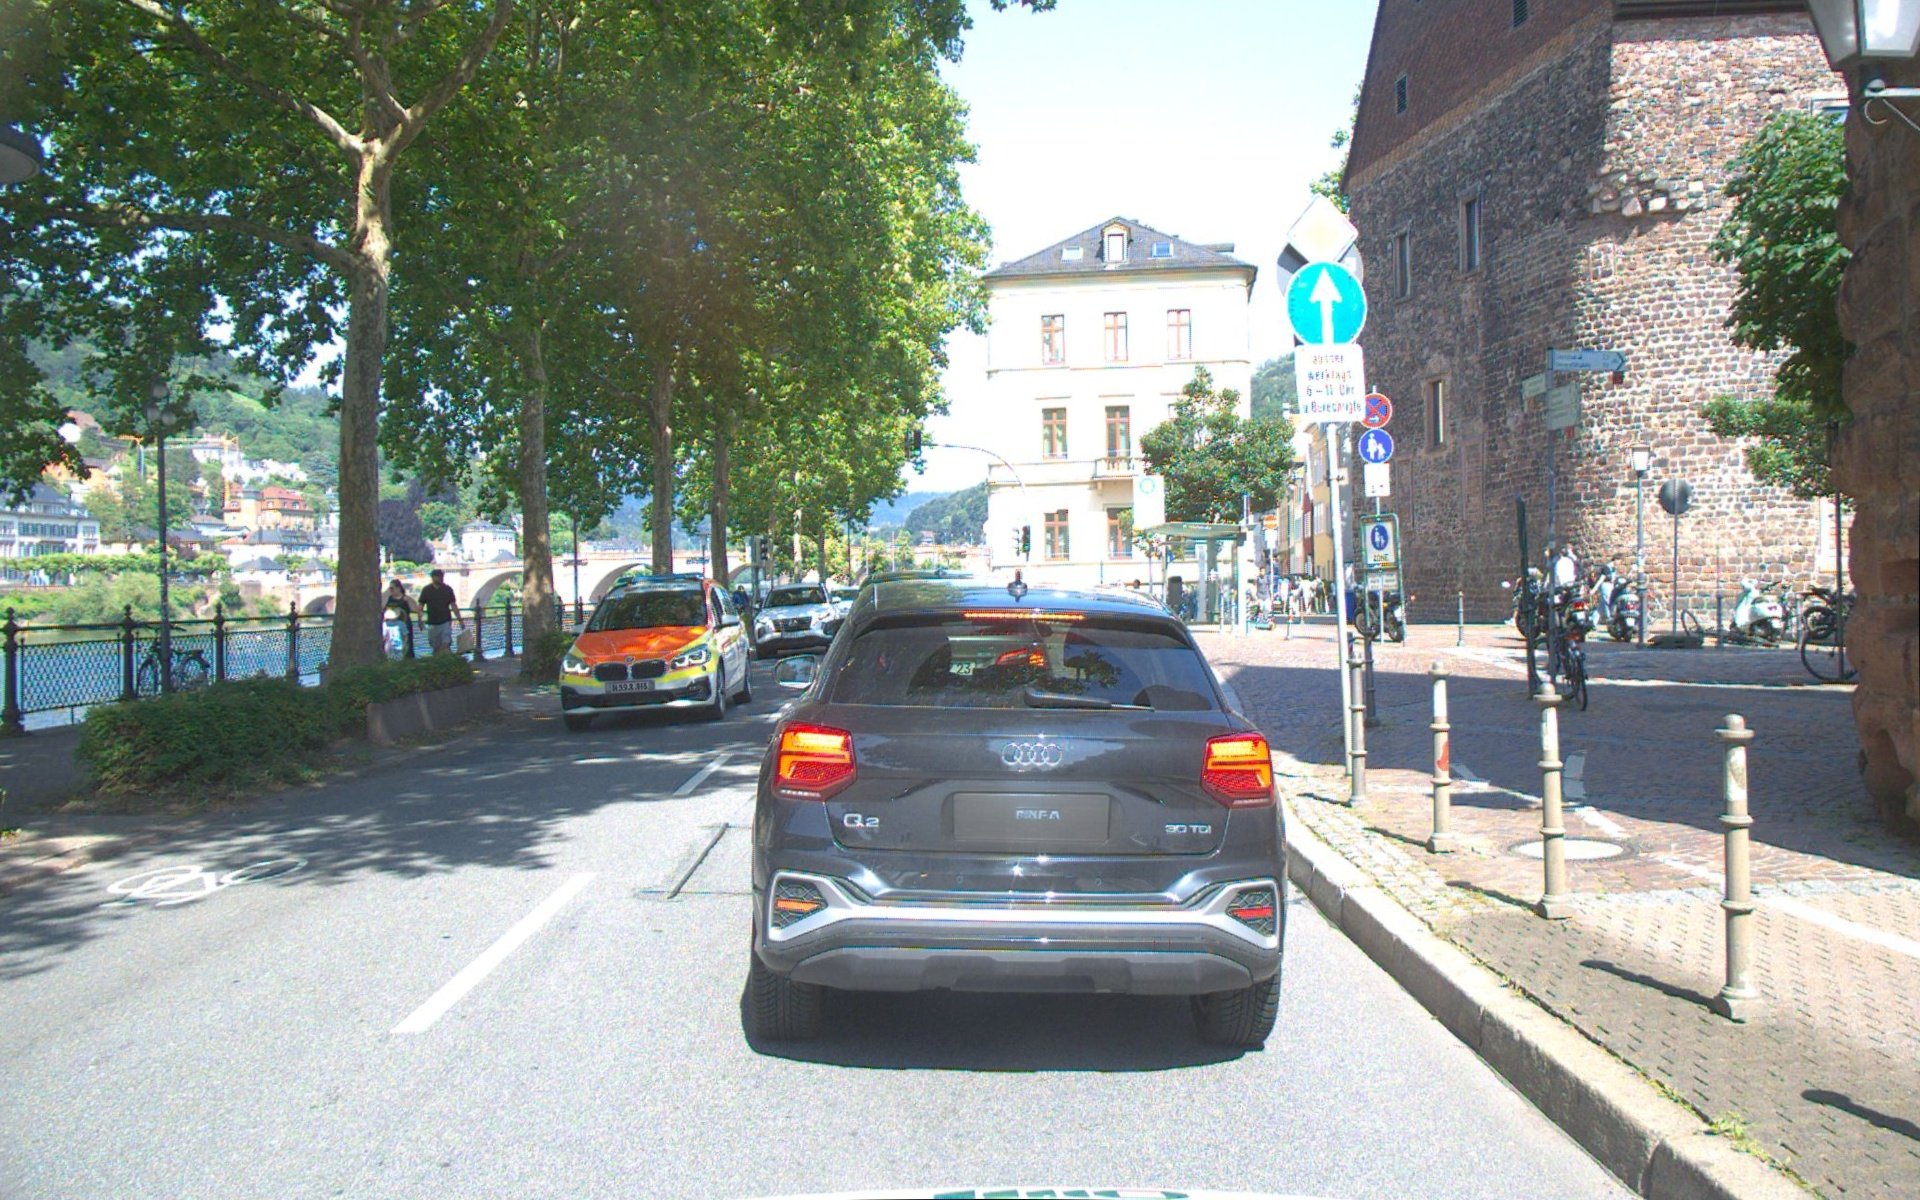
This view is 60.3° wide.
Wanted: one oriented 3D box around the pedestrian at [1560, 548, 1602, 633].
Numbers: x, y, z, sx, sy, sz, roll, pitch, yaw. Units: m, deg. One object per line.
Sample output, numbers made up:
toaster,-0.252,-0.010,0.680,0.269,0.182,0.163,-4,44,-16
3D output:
pedestrian,14.631,-0.218,38.986,0.655,1.954,0.821,1,-1,-2

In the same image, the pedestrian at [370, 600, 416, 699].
pedestrian,-8.118,0.703,23.688,0.469,1.386,0.417,1,0,3

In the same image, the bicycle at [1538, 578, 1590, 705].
bicycle,6.174,0.394,16.937,0.189,1.225,1.771,0,1,10

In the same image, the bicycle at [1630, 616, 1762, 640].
bicycle,12.318,0.462,27.751,1.887,0.388,0.918,0,-1,14

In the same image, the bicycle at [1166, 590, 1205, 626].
bicycle,6.681,0.230,49.025,1.184,1.053,0.178,1,-1,-20

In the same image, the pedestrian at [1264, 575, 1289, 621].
pedestrian,14.188,-0.097,74.114,0.925,2.049,0.807,1,-1,-1

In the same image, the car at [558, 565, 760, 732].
car,-3.491,0.500,19.883,1.639,1.689,4.222,-3,0,-1

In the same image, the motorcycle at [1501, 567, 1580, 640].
motorcycle,10.566,0.071,30.181,0.642,1.288,2.199,0,0,-1

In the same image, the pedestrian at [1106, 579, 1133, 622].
pedestrian,4.709,0.007,48.921,0.651,1.253,0.640,1,-1,-7

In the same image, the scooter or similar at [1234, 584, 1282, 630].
scooter or similar,7.108,0.166,39.504,1.067,1.084,0.323,1,-1,-3

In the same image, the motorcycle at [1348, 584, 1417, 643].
motorcycle,7.693,0.222,30.216,0.555,1.030,2.489,-1,1,-2

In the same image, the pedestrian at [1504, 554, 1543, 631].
pedestrian,13.588,-0.190,39.925,0.639,1.834,0.847,0,0,-2

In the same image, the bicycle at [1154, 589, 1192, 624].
bicycle,6.404,0.193,49.641,1.166,1.033,0.178,1,-1,-20

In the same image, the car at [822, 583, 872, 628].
car,-4.491,0.194,66.244,1.703,1.599,4.091,-4,1,-1

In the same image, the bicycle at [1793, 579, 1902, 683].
bicycle,10.616,0.340,19.835,0.437,1.182,1.731,-1,1,3

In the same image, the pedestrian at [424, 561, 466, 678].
pedestrian,-8.570,0.319,27.544,0.523,1.920,0.436,1,0,-1

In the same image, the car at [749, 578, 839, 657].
car,-3.860,0.372,38.984,1.733,1.689,3.999,-3,0,-1

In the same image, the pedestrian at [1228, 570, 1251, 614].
pedestrian,10.588,-0.295,62.667,0.760,1.649,0.645,-2,0,1

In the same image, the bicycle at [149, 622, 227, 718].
bicycle,-9.533,0.847,20.453,0.352,1.110,1.295,2,0,-2

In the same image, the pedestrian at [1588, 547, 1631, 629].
pedestrian,13.658,-0.243,34.752,0.791,1.691,0.656,-1,0,23

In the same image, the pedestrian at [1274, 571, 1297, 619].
pedestrian,14.282,-0.213,72.582,0.822,2.049,0.738,1,-1,-1

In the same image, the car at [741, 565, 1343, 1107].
car,0.213,0.663,6.584,1.707,1.535,3.646,1,1,-1

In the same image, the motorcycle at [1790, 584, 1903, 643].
motorcycle,16.772,0.259,31.328,1.826,1.072,0.480,1,-1,7

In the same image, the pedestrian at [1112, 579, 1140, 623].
pedestrian,4.821,0.030,48.070,0.651,1.233,0.640,1,-1,-7

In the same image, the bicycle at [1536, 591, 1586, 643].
bicycle,14.730,0.413,40.583,0.381,1.230,1.715,1,0,-9

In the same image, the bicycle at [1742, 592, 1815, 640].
bicycle,15.127,0.289,30.612,0.346,0.835,1.926,1,1,-2

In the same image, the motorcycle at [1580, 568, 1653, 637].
motorcycle,12.284,0.051,30.999,0.535,1.257,2.030,1,0,-1

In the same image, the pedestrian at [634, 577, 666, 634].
pedestrian,-10.270,0.189,54.752,0.891,1.843,0.586,1,-2,3

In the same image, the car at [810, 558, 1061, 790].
car,-0.200,0.513,13.460,1.756,1.623,3.398,1,0,-1

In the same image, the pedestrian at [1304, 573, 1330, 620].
pedestrian,15.555,-0.144,72.096,0.921,2.049,0.807,1,-1,-1

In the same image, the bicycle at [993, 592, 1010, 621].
bicycle,1.574,0.248,62.579,0.428,1.105,1.675,1,0,-5

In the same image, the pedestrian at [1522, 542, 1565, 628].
pedestrian,14.221,-0.355,40.331,0.715,2.049,0.878,1,-1,-1

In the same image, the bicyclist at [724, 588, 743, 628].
bicyclist,-7.619,0.269,55.647,0.555,1.334,0.551,1,-1,-5

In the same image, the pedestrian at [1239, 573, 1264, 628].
pedestrian,7.552,0.012,42.865,0.546,1.409,0.588,1,-1,1

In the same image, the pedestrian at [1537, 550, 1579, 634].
pedestrian,13.930,-0.180,38.526,0.655,1.917,0.821,1,-1,-2

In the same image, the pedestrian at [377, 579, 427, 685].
pedestrian,-9.169,0.519,27.199,0.589,1.715,0.583,-1,0,-2

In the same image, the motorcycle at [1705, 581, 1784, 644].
motorcycle,14.007,0.222,29.579,0.496,1.092,1.839,1,0,-1

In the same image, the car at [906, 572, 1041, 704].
car,0.142,0.455,22.332,1.676,1.637,3.654,0,0,-1

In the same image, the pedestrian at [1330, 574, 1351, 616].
pedestrian,15.172,-0.193,65.889,0.676,1.640,0.892,-2,0,19

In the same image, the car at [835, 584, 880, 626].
car,-4.917,0.212,79.862,1.777,1.754,4.421,-6,1,-1

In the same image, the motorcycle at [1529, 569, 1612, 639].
motorcycle,11.407,0.072,31.002,0.661,1.257,2.312,1,0,-1

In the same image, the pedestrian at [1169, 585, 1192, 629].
pedestrian,7.695,0.252,57.783,0.679,1.526,0.513,1,-1,-5

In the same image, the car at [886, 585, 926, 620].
car,-2.924,0.156,90.473,1.952,1.838,4.000,1,0,1

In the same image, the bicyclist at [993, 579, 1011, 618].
bicyclist,1.599,-0.062,62.463,0.593,1.475,0.590,1,-1,-6

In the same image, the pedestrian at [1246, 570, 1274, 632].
pedestrian,9.422,0.029,51.964,0.732,1.923,0.752,1,-1,1

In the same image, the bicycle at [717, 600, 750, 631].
bicycle,-7.622,0.510,55.589,1.072,1.024,0.303,1,-1,-8
